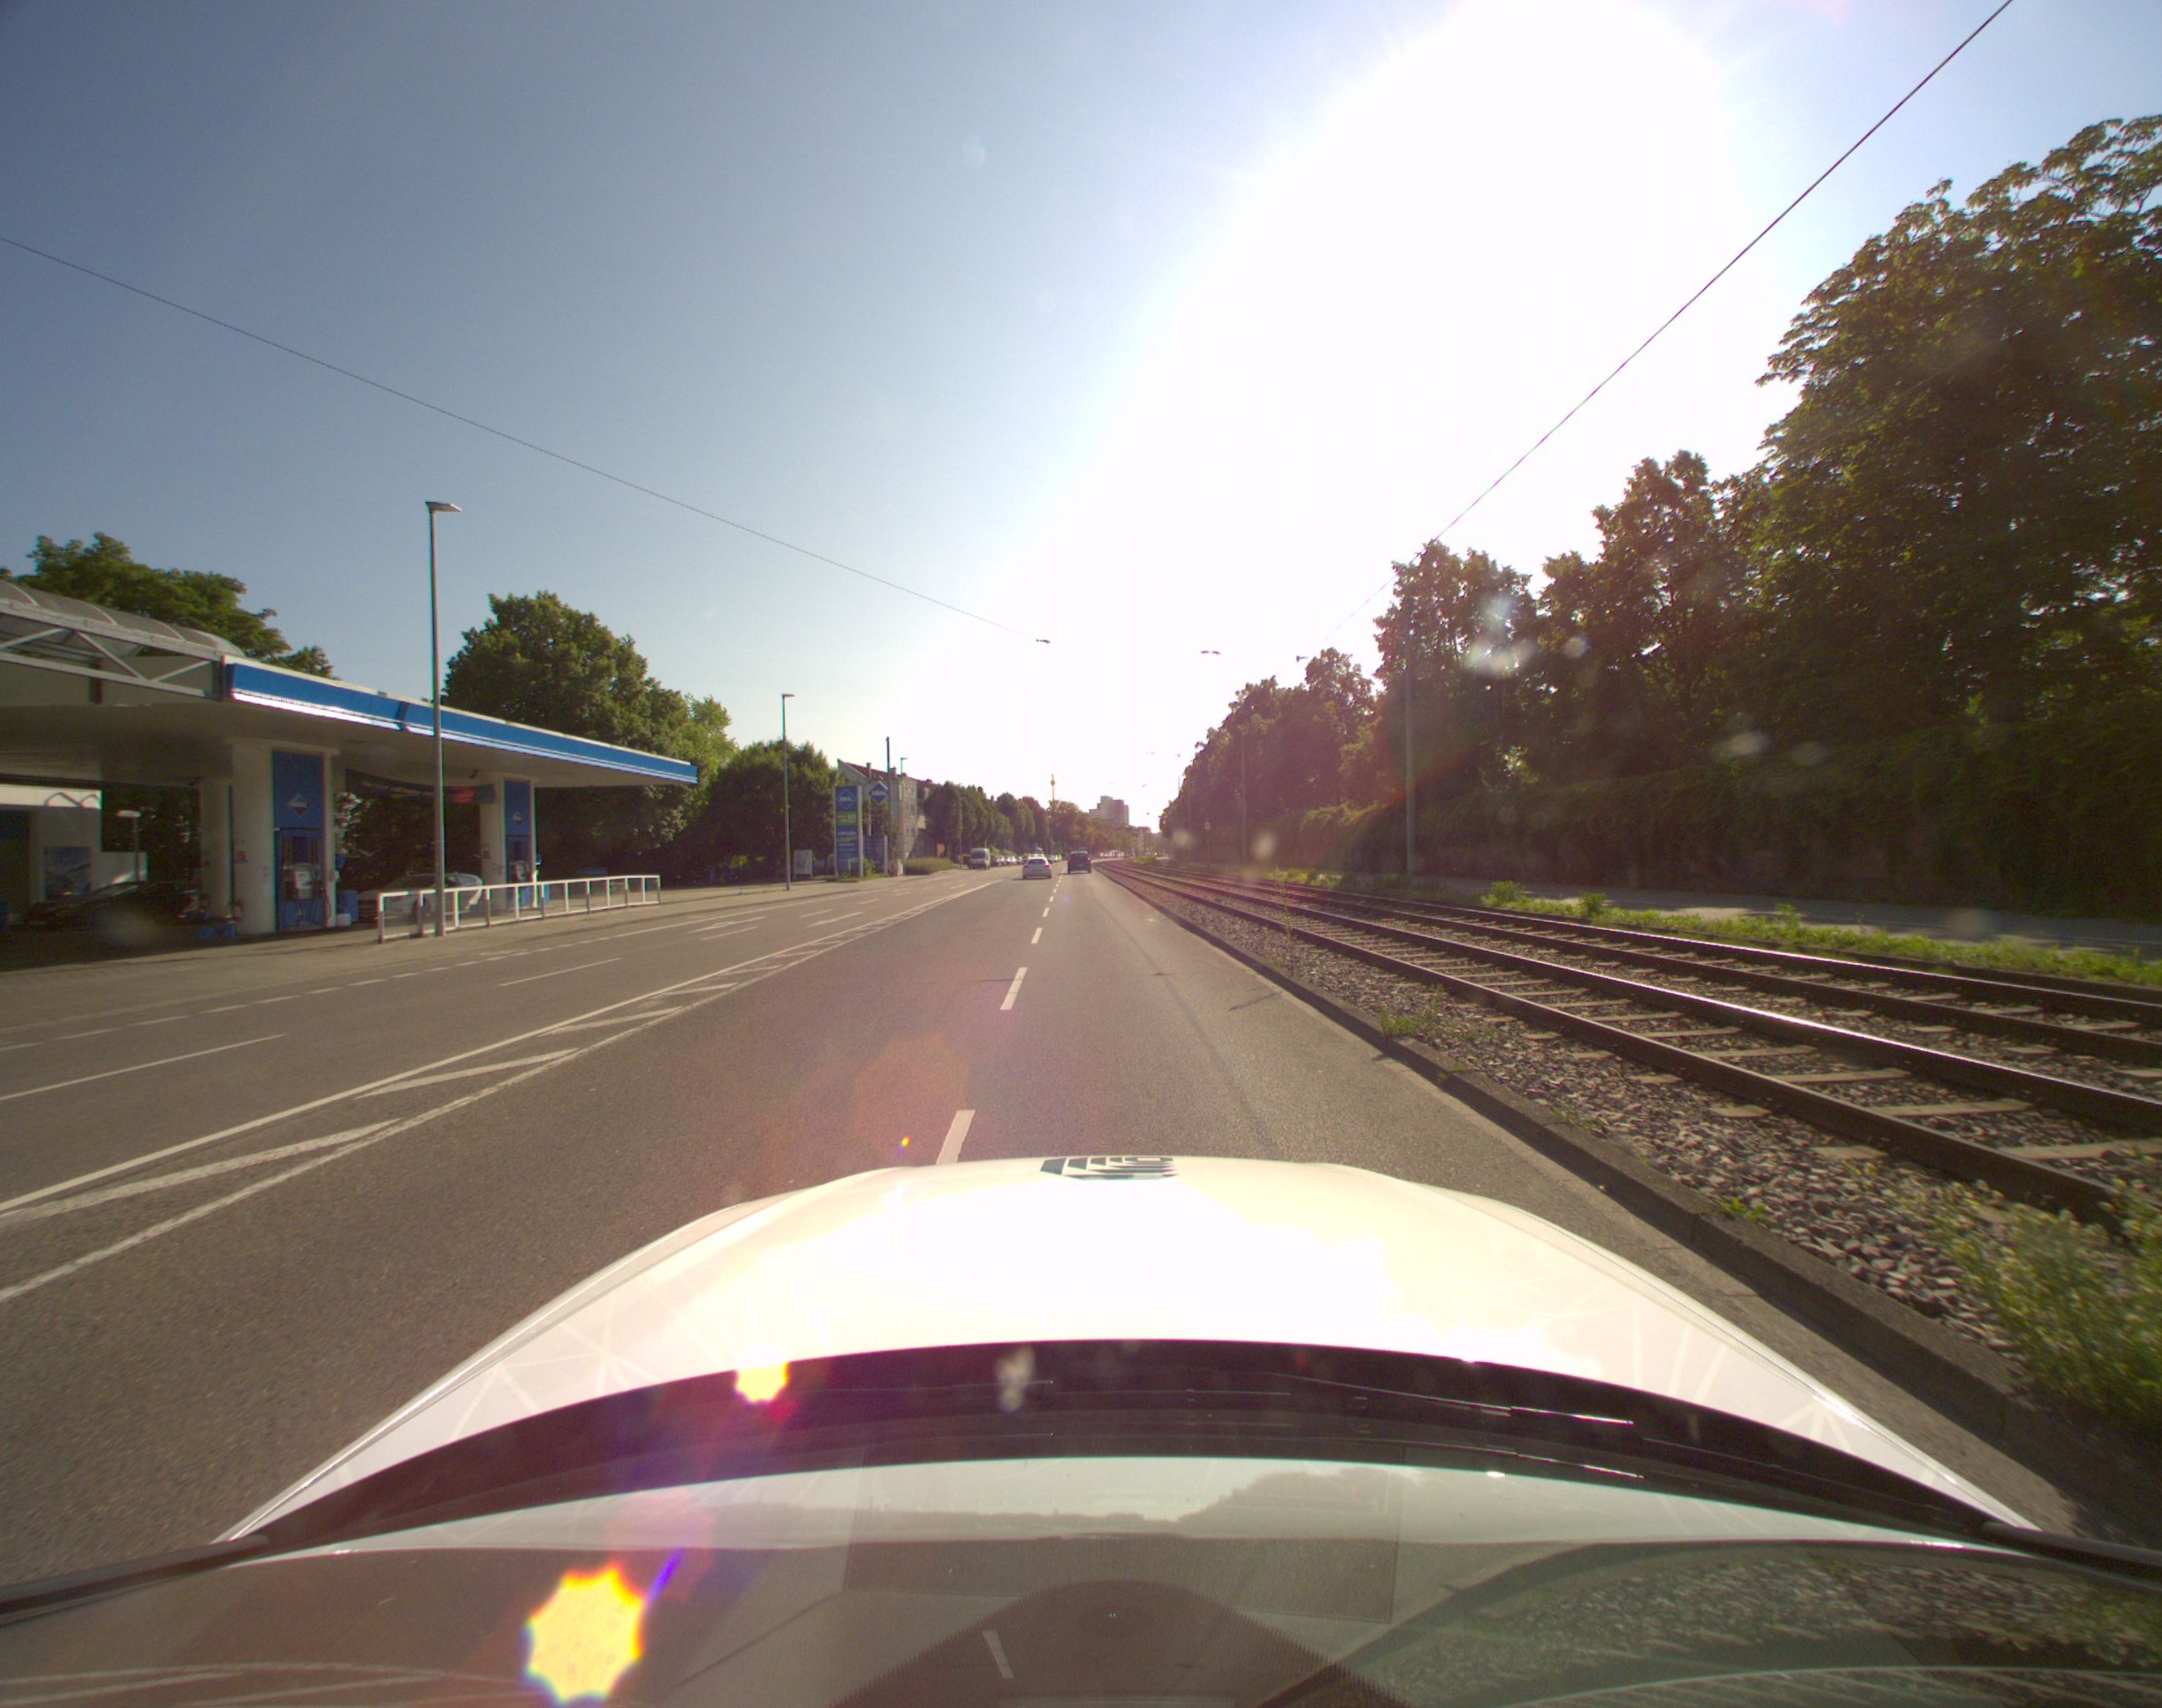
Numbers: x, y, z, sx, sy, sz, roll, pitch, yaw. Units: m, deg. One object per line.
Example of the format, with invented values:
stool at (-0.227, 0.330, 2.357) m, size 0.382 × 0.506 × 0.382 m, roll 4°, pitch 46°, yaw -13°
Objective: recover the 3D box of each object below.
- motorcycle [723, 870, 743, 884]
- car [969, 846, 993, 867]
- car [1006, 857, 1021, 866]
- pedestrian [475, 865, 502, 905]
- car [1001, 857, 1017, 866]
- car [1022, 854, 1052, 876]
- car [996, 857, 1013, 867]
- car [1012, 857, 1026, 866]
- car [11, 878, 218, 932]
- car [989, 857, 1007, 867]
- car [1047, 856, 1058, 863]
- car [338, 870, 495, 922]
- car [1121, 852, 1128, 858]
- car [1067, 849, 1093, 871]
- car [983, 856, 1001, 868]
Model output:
motorcycle at (-25.360, 1.669, 59.377) m, size 0.669 × 0.901 × 1.670 m, roll -2°, pitch 0°, yaw 0°
car at (-11.731, 0.276, 95.412) m, size 1.986 × 2.376 × 4.541 m, roll -2°, pitch 0°, yaw 2°
car at (-11.006, 1.222, 133.355) m, size 1.986 × 1.416 × 3.845 m, roll -2°, pitch 0°, yaw 1°
pedestrian at (-26.881, 1.399, 36.962) m, size 0.662 × 1.728 × 0.846 m, roll -2°, pitch 0°, yaw -13°
car at (-11.317, 1.185, 127.744) m, size 1.986 × 1.416 × 3.845 m, roll -2°, pitch 0°, yaw 1°
car at (-2.745, 0.669, 51.470) m, size 1.775 × 1.356 × 3.600 m, roll 0°, pitch 0°, yaw -1°
car at (-11.523, 1.158, 122.483) m, size 1.986 × 1.416 × 3.845 m, roll -2°, pitch 0°, yaw 1°
car at (-11.008, 1.324, 145.070) m, size 1.986 × 1.416 × 3.845 m, roll -2°, pitch 0°, yaw 1°
car at (-30.666, 1.558, 26.070) m, size 1.739 × 1.393 × 4.118 m, roll -2°, pitch 0°, yaw -2°
car at (-11.920, 1.122, 116.789) m, size 1.986 × 1.416 × 3.845 m, roll -2°, pitch 0°, yaw 1°
car at (-5.987, 1.188, 171.711) m, size 1.986 × 1.416 × 3.845 m, roll -2°, pitch 0°, yaw 1°
car at (-21.339, 1.296, 26.393) m, size 1.739 × 1.393 × 4.118 m, roll -2°, pitch 0°, yaw -2°
car at (11.778, 0.212, 220.243) m, size 1.716 × 1.593 × 3.606 m, roll 0°, pitch 0°, yaw 5°
car at (-0.092, 0.465, 61.920) m, size 1.721 × 1.593 × 3.595 m, roll 0°, pitch 0°, yaw -5°
car at (-12.084, 1.077, 110.721) m, size 1.986 × 1.416 × 3.845 m, roll -2°, pitch 0°, yaw 1°
